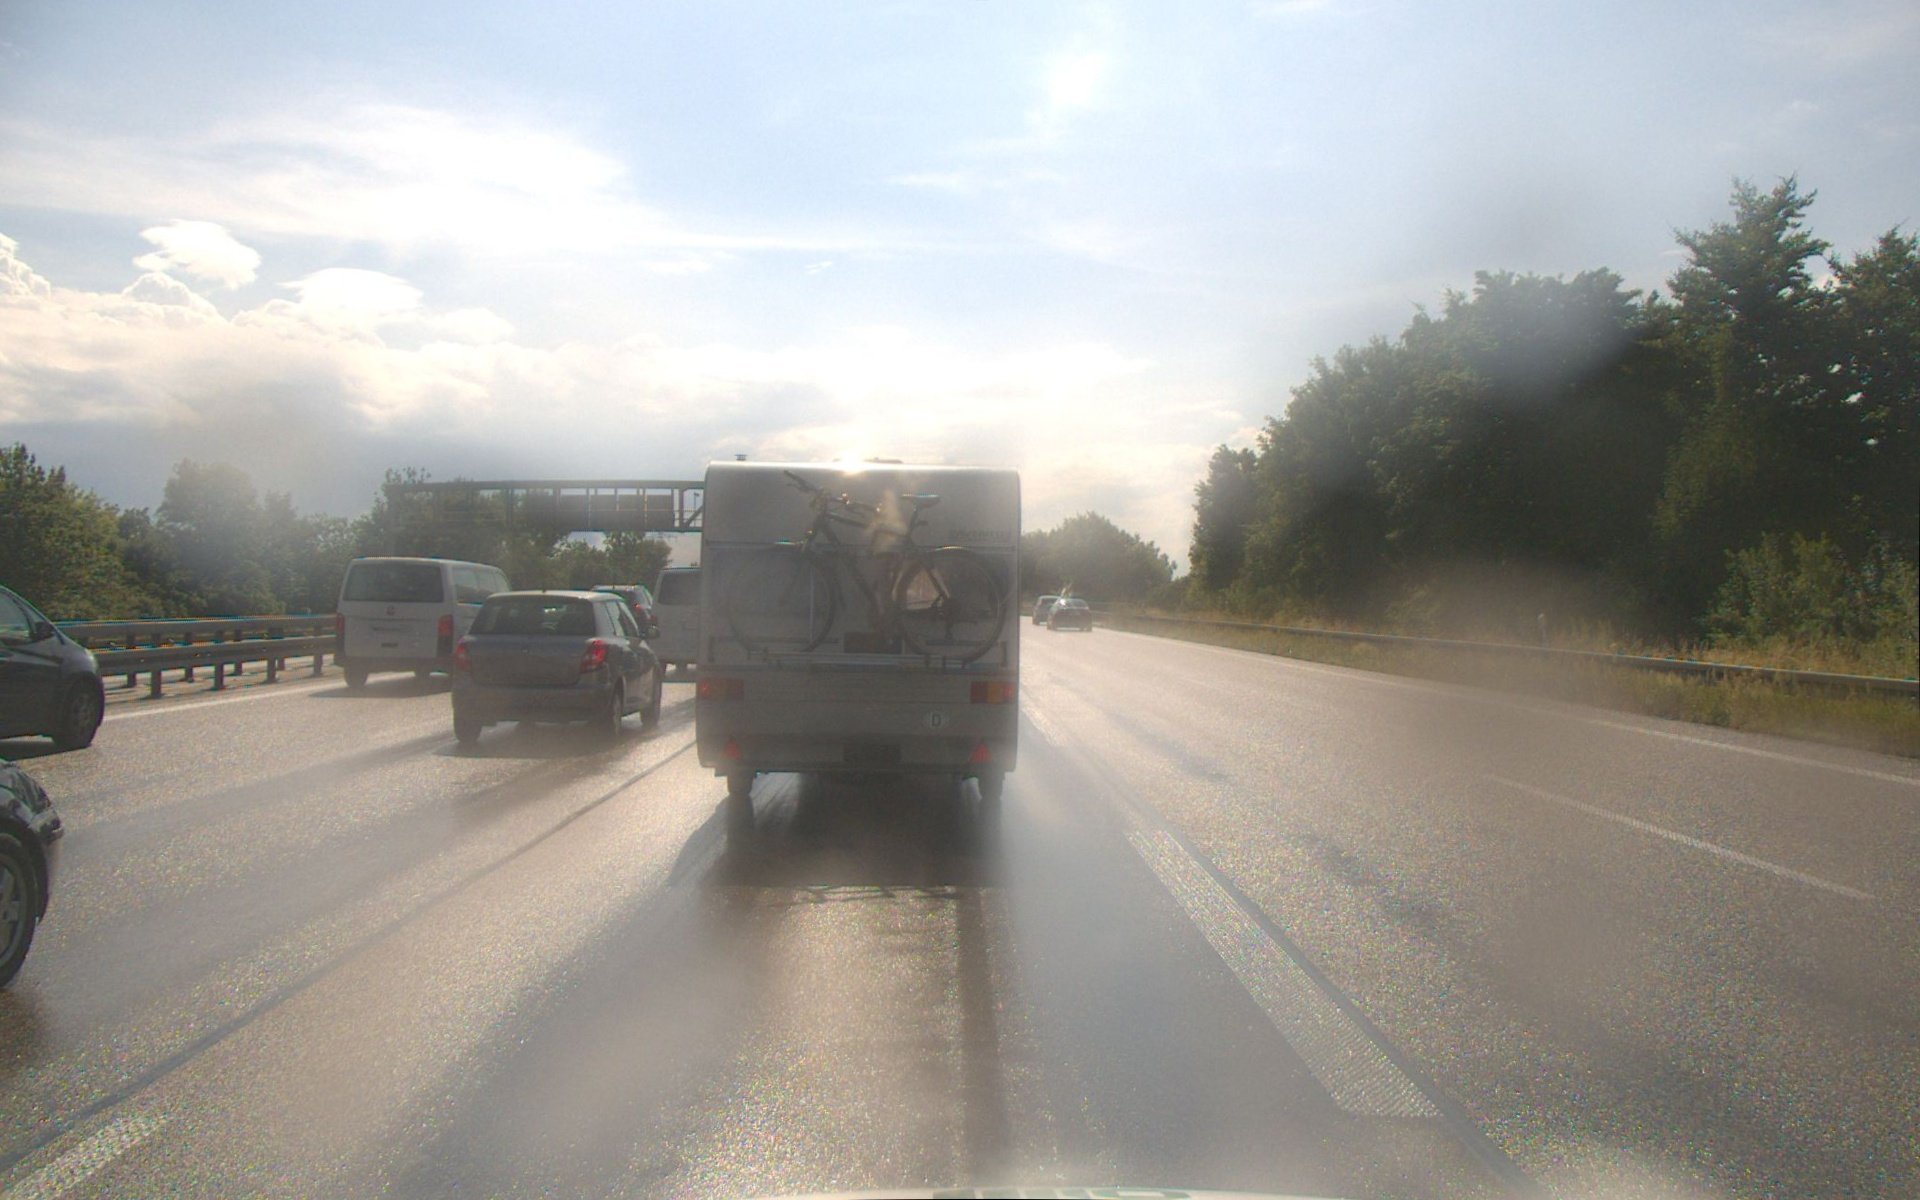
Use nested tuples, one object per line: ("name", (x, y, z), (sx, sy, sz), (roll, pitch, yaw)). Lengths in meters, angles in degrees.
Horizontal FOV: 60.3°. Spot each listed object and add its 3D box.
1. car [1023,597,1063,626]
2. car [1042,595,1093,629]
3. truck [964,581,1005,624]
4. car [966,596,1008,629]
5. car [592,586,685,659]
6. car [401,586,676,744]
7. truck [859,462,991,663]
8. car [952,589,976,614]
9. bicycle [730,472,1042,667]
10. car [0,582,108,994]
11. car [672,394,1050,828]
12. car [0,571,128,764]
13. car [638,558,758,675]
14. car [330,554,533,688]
("car", (4.823, 0.657, 96.722), (1.840, 1.657, 3.996), (1, 0, -5))
("car", (5.116, 0.569, 78.928), (1.840, 1.521, 3.996), (1, 0, -5))
("truck", (1.468, 0.127, 100.538), (2.366, 2.486, 6.052), (1, 0, 0))
("car", (1.324, 0.625, 83.757), (1.799, 1.585, 3.997), (1, 0, -4))
("car", (-7.934, 0.542, 41.145), (1.736, 1.691, 3.997), (1, 0, -4))
("car", (-4.323, 0.608, 17.583), (1.947, 1.483, 3.826), (1, 0, 0))
("truck", (-1.004, -0.889, 44.503), (3.083, 4.707, 10.731), (0, 0, -2))
("car", (0.269, 0.105, 115.859), (1.684, 1.713, 4.000), (1, 0, 0))
("bicycle", (-0.451, -0.186, 10.332), (1.894, 1.161, 0.384), (1, 0, 0))
("car", (-4.271, 0.667, 4.611), (1.723, 1.468, 4.000), (1, 0, 0))
("car", (-0.639, 0.076, 12.519), (2.361, 2.721, 3.999), (1, 0, 0))
("car", (-8.856, 0.550, 13.889), (1.746, 1.606, 3.916), (1, 0, 0))
("car", (-4.894, 0.299, 31.391), (1.839, 2.049, 3.997), (1, 0, -4))
("car", (-8.477, 0.305, 27.005), (1.810, 1.967, 5.014), (1, 0, -2))
